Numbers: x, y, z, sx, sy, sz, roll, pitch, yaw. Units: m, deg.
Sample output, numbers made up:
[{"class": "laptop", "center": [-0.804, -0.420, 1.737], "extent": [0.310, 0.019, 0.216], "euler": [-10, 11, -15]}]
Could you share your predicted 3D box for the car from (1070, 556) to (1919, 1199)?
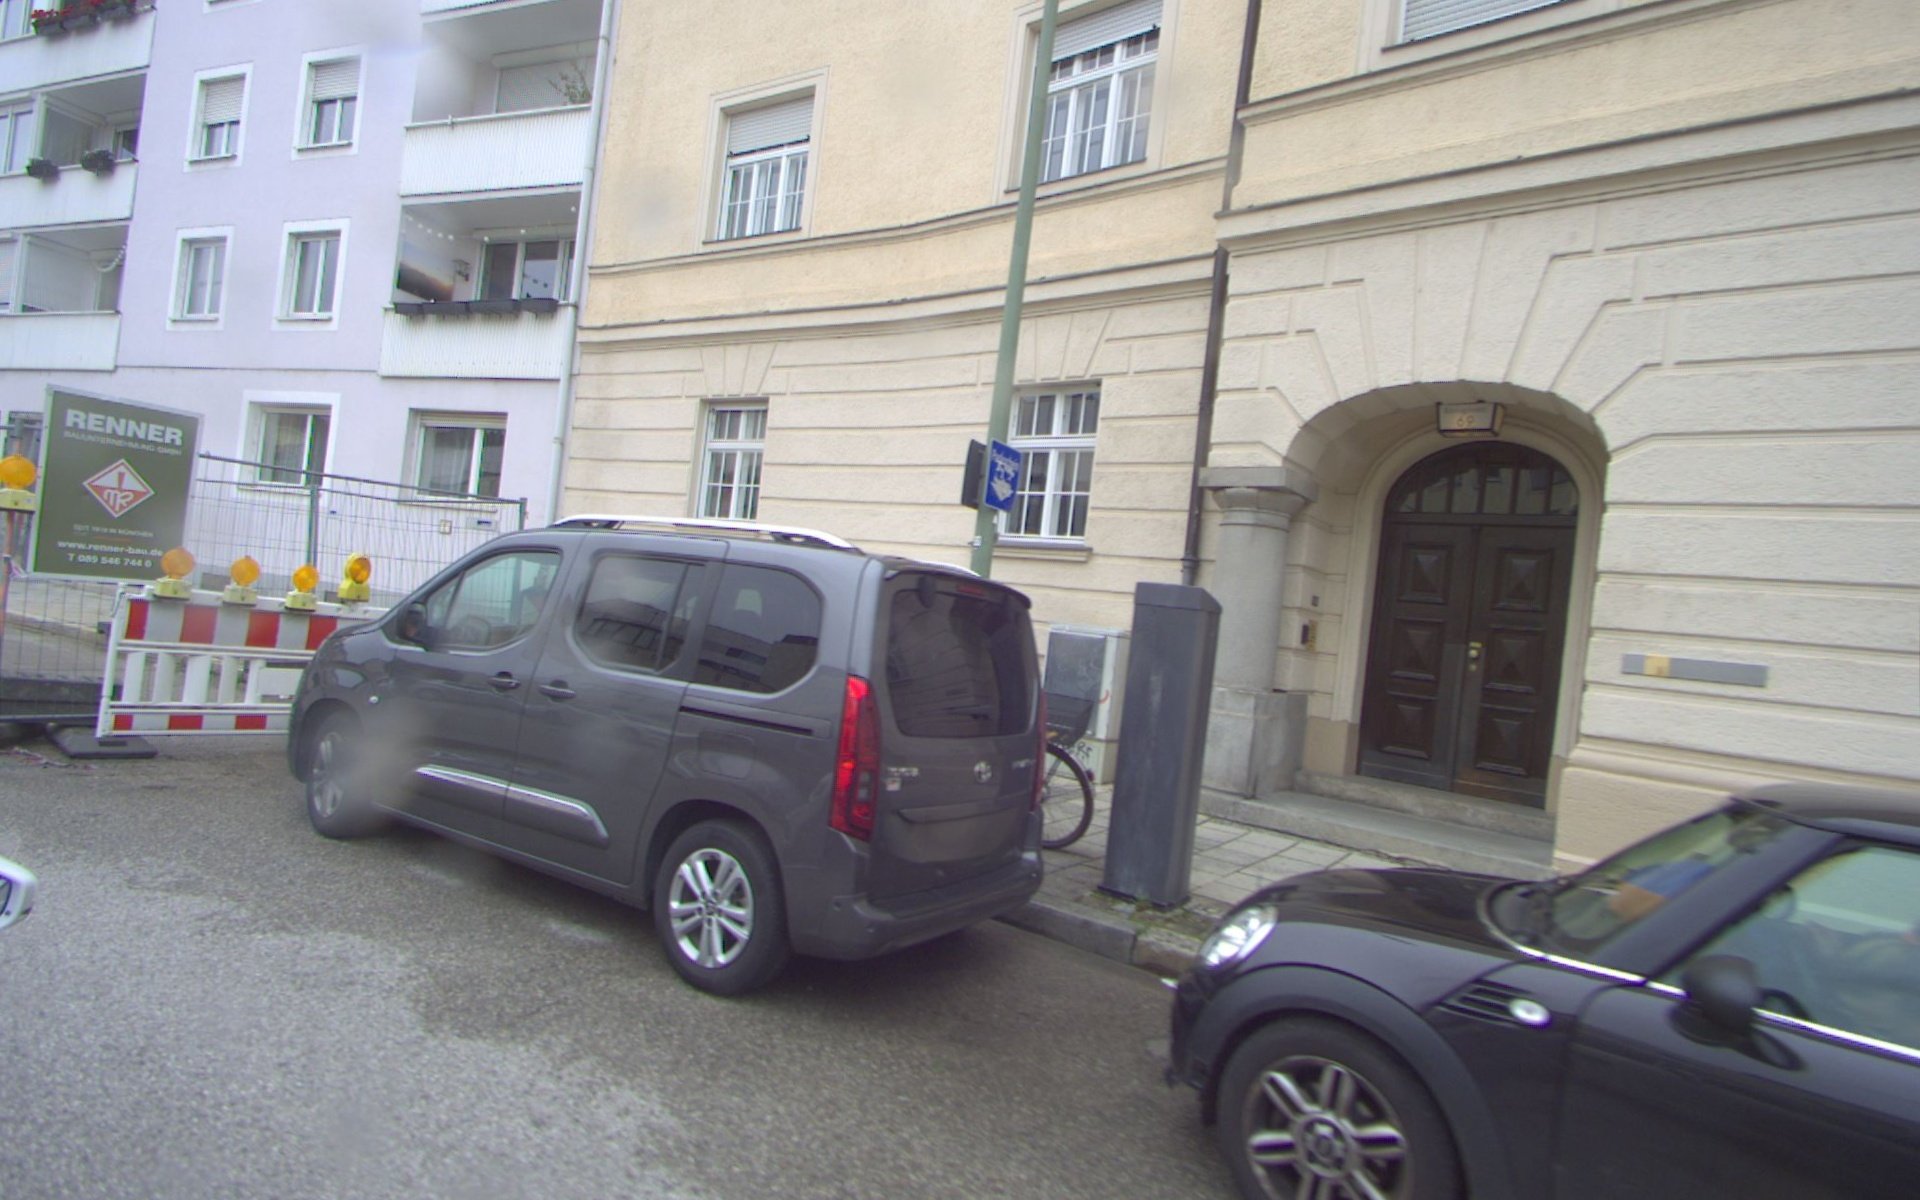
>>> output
[{"class": "car", "center": [2.405, 0.976, 2.515], "extent": [3.676, 1.749, 1.837], "euler": [5, -4, 39]}]

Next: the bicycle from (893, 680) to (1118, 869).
[{"class": "bicycle", "center": [0.270, 1.056, 6.278], "extent": [1.269, 0.940, 0.333], "euler": [6, -2, 25]}]

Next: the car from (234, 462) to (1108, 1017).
[{"class": "car", "center": [-1.607, 0.431, 5.267], "extent": [4.167, 1.818, 1.842], "euler": [6, -3, 30]}]
